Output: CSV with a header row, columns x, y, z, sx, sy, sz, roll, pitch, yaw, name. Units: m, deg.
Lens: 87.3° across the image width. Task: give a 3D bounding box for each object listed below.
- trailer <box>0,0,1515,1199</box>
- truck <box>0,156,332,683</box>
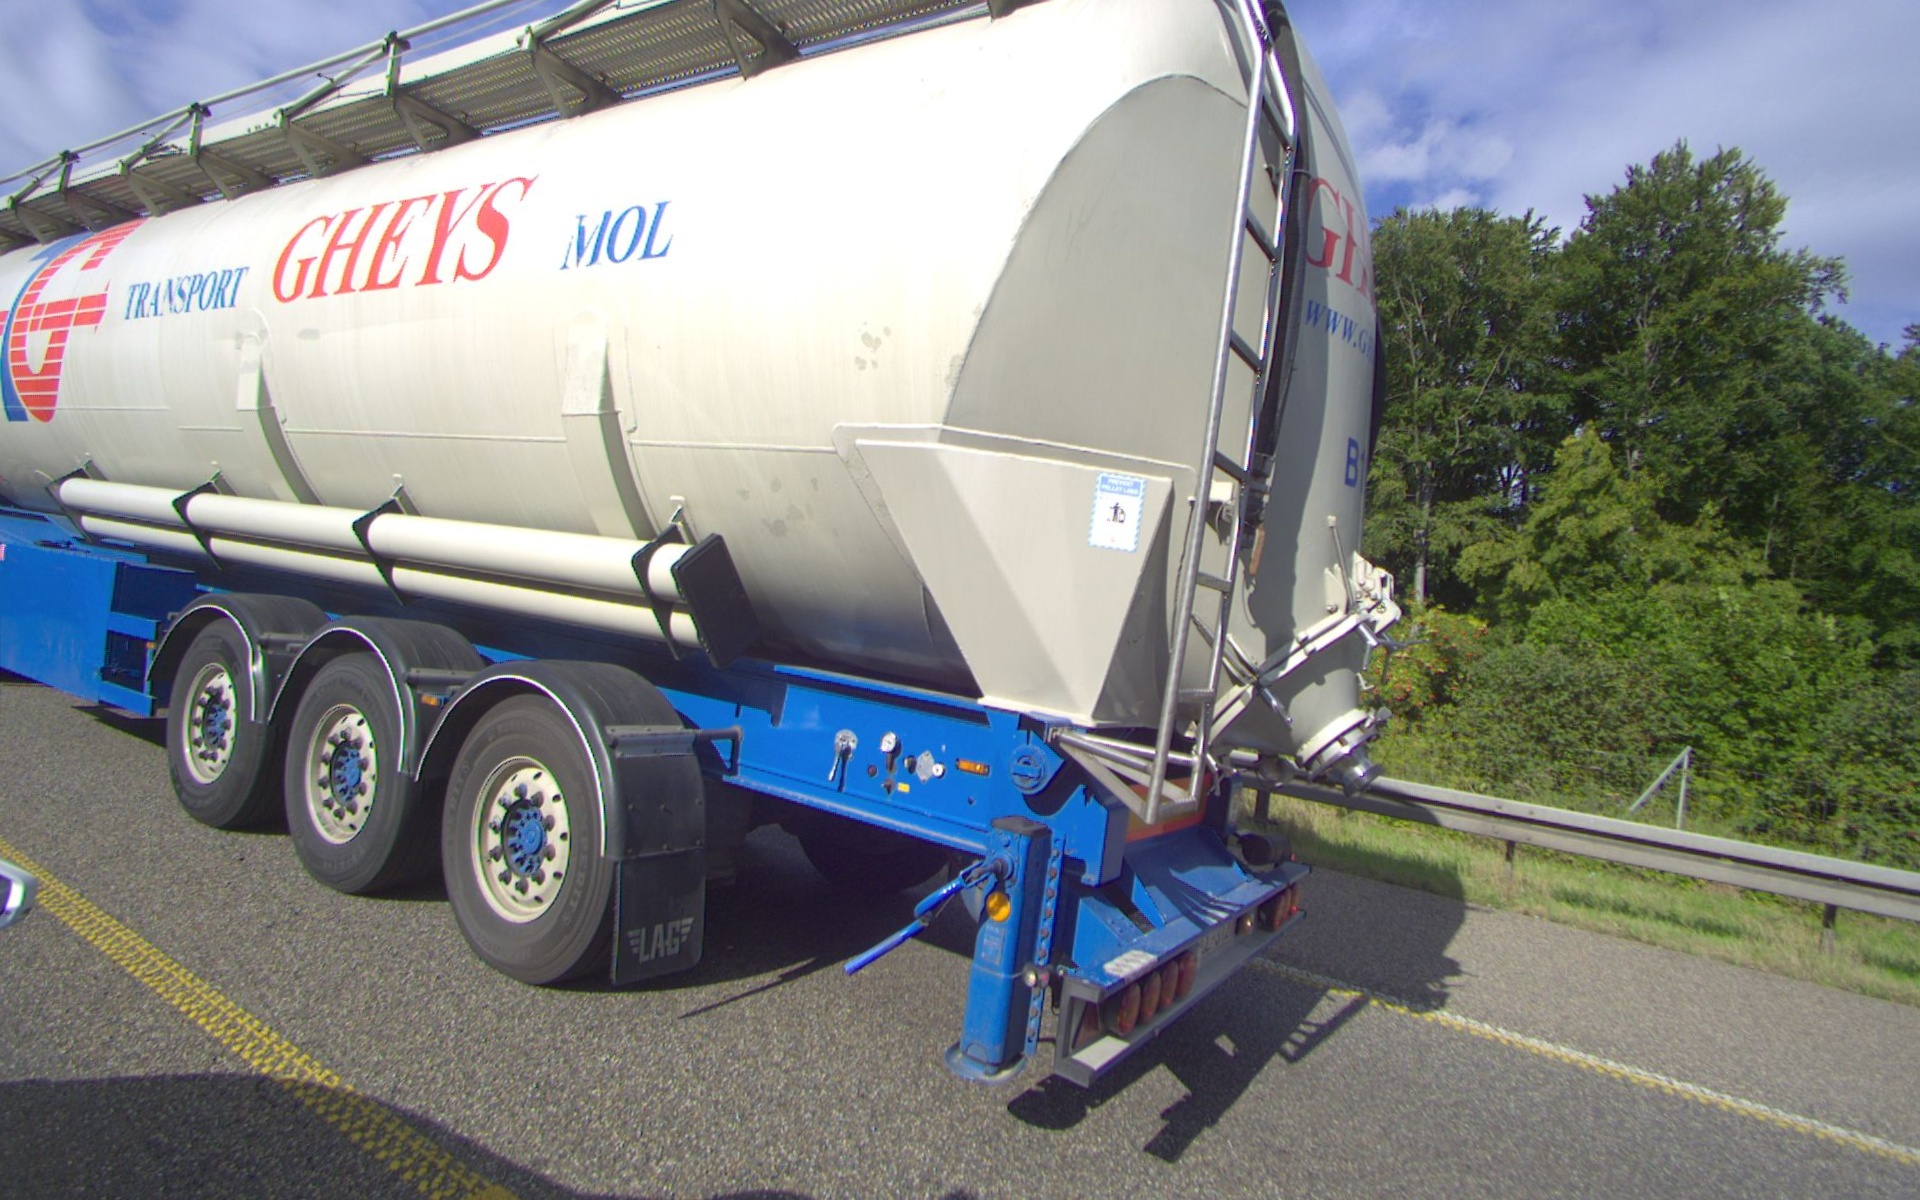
x,y,z,sx,sy,sz,roll,pitch,yaw,name
-3.731,-0.952,6.528,12.391,3.989,2.649,7,-1,33,trailer
-9.456,-1.575,10.213,5.684,4.018,2.663,6,-2,32,truck
